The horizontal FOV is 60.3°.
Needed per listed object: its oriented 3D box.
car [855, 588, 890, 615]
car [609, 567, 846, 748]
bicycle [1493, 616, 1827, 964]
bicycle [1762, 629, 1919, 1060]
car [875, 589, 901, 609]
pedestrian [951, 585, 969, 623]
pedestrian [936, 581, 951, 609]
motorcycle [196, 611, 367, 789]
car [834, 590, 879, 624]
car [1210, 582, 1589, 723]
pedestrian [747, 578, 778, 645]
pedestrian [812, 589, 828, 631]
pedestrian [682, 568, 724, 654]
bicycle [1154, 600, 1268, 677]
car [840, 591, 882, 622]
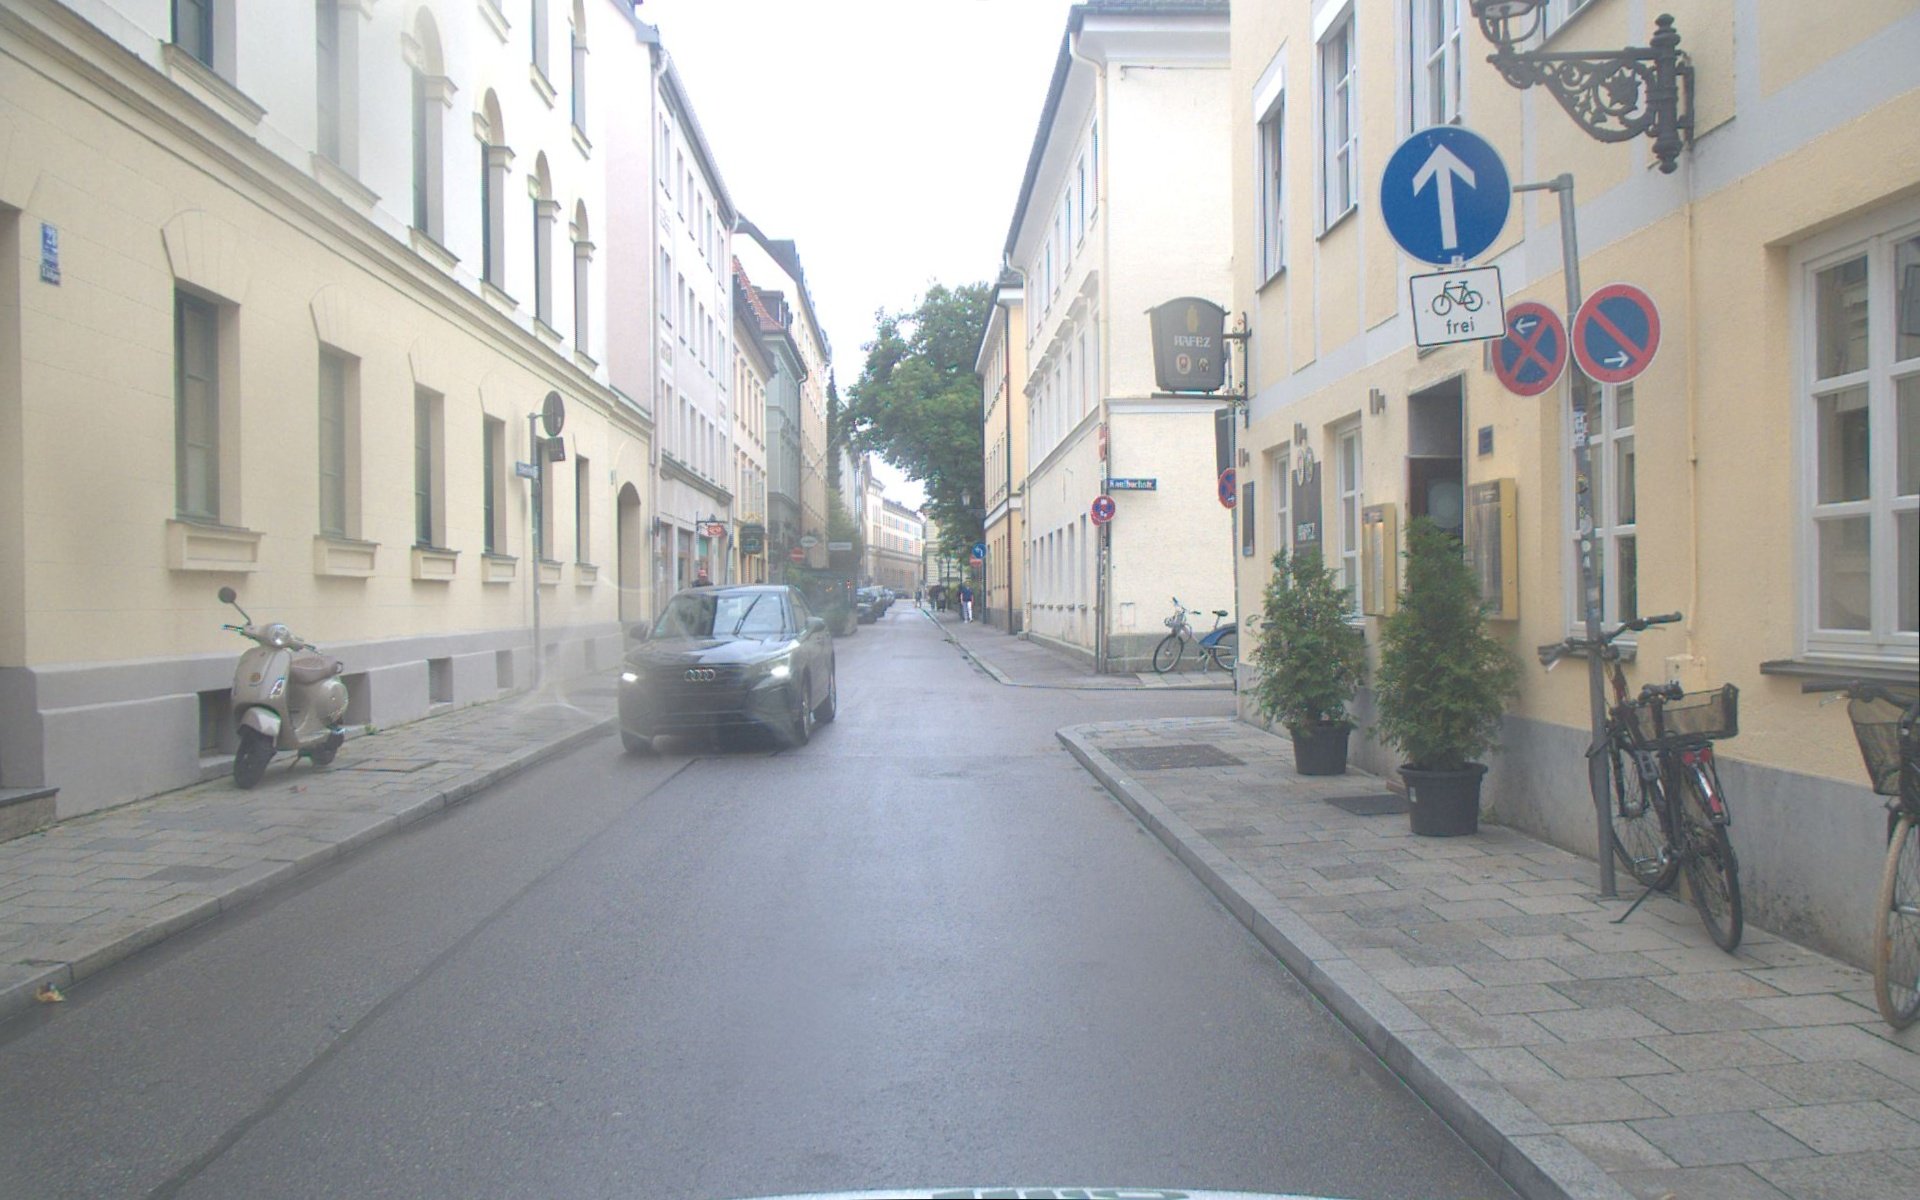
[{"bbox_3d":[-5.047,0.095,95.574,1.743,1.492,3.542,1,0,1],"label":"car"},{"bbox_3d":[-2.215,0.498,16.763,1.775,1.621,4.001,0,0,1],"label":"car"},{"bbox_3d":[2.704,0.667,6.587,0.554,1.156,1.684,-2,0,-1],"label":"bicycle"},{"bbox_3d":[2.922,0.690,4.395,0.554,1.156,1.987,-2,0,-1],"label":"bicycle"},{"bbox_3d":[-5.404,-0.090,125.299,1.743,1.492,3.542,1,0,1],"label":"car"},{"bbox_3d":[0.003,0.186,80.017,0.862,1.833,1.046,1,0,-1],"label":"pedestrian"},{"bbox_3d":[-1.104,-0.317,109.172,0.995,1.833,1.349,1,0,-1],"label":"pedestrian"},{"bbox_3d":[-4.988,0.697,12.274,0.590,1.194,1.708,1,0,-1],"label":"motorcycle"},{"bbox_3d":[-4.706,0.312,75.628,1.743,1.492,3.663,1,0,1],"label":"car"},{"bbox_3d":[5.016,0.580,19.271,3.933,1.465,1.765,1,2,0],"label":"car"},{"bbox_3d":[-5.215,0.306,43.684,0.750,1.738,0.785,0,0,-4],"label":"pedestrian"},{"bbox_3d":[-4.597,0.319,54.432,0.499,1.350,0.630,1,0,-4],"label":"pedestrian"},{"bbox_3d":[-5.493,0.222,35.390,0.793,1.786,0.989,1,1,-4],"label":"pedestrian"},{"bbox_3d":[3.988,0.611,26.375,1.722,1.164,0.586,-1,3,-2],"label":"bicycle"},{"bbox_3d":[-4.791,0.298,80.621,1.743,1.492,3.542,1,0,1],"label":"car"}]
